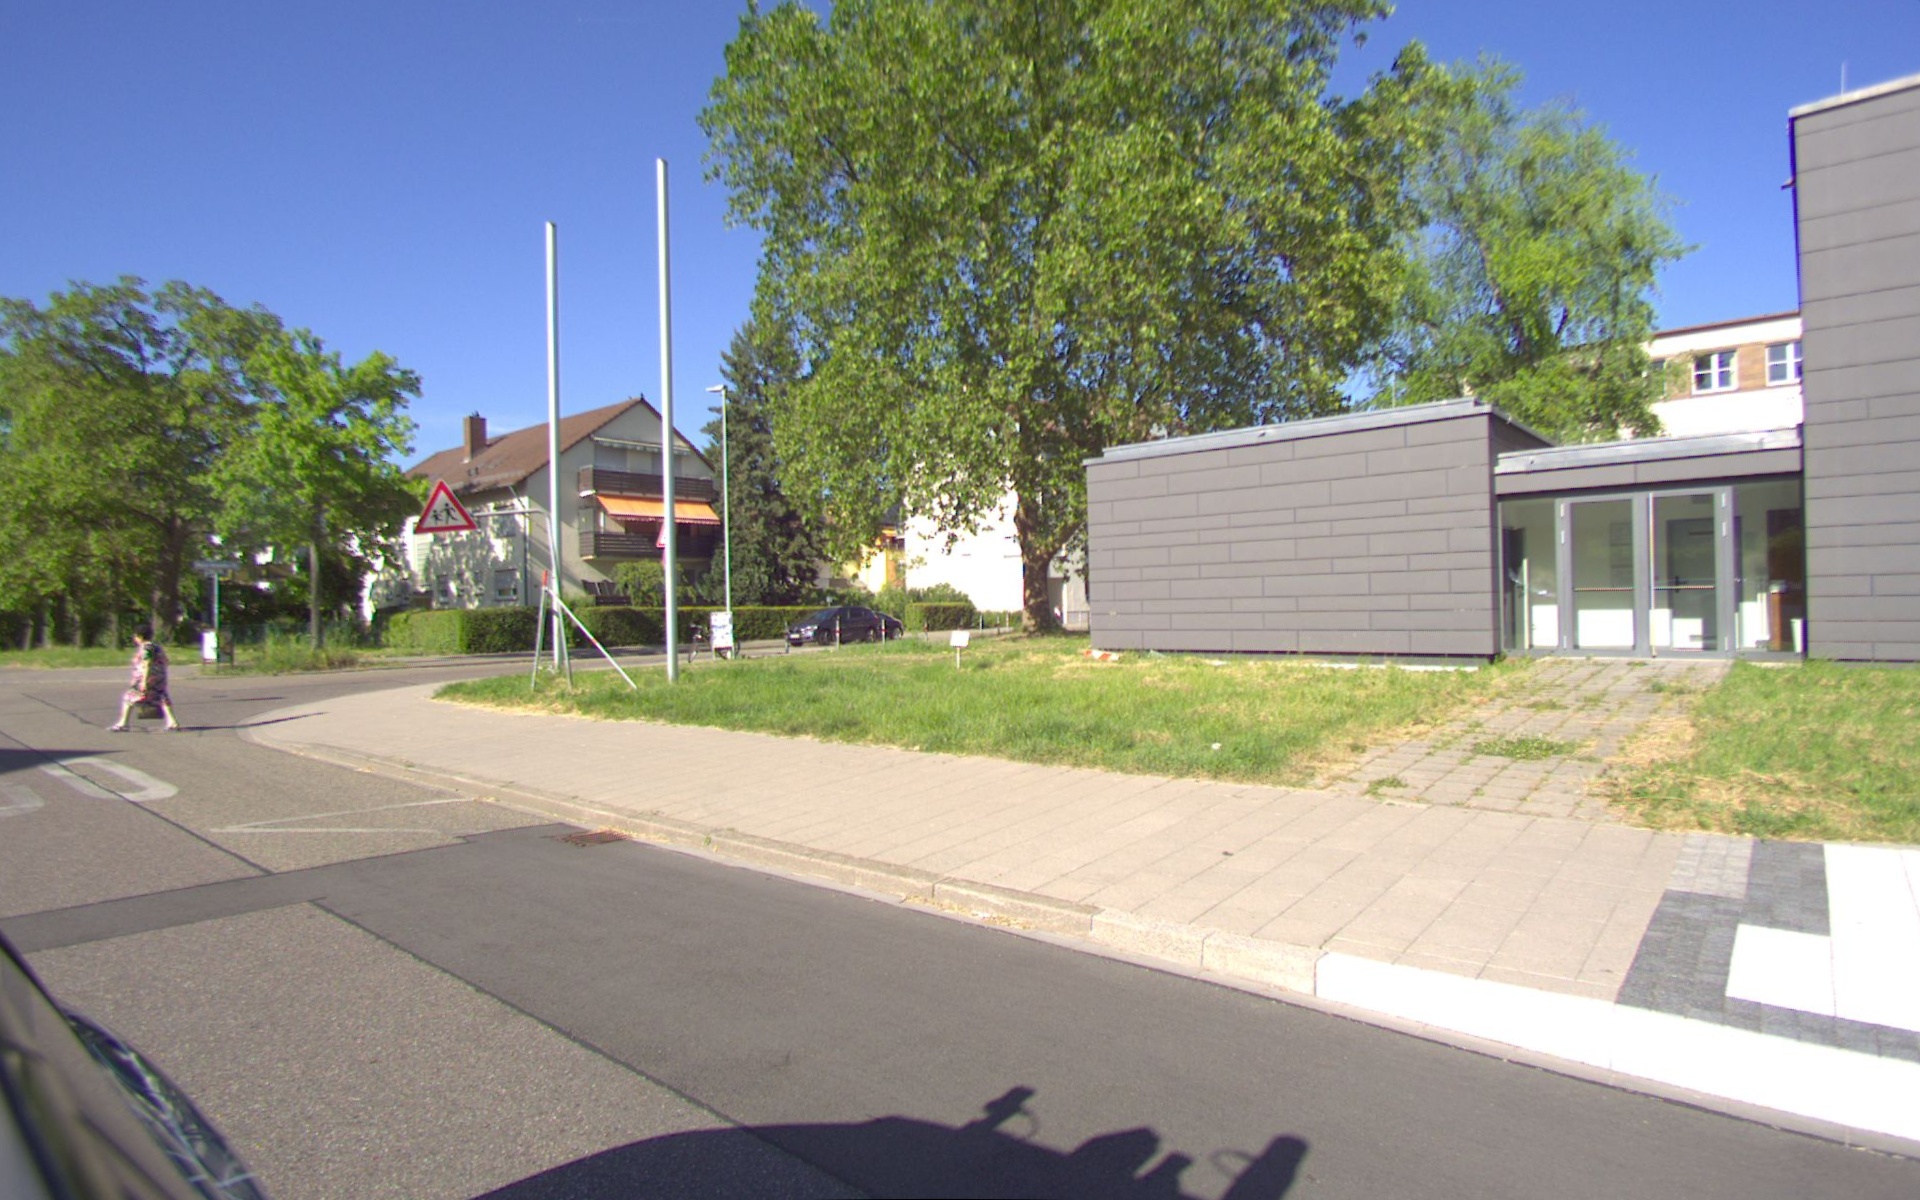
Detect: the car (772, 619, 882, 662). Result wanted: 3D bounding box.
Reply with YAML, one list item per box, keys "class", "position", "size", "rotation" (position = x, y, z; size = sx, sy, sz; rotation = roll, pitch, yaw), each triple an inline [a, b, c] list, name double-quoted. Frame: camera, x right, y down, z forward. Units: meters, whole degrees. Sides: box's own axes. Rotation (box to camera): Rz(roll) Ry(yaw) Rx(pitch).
- class: "car"
  position: [-5.317, 1.594, 40.769]
  size: [2.114, 1.468, 4.056]
  rotation: [-1, 0, 39]

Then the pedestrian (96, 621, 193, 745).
- class: "pedestrian"
  position: [-10.965, 1.108, 13.637]
  size: [0.822, 1.599, 0.634]
  rotation: [3, -1, -25]

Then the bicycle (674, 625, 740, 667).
- class: "bicycle"
  position: [-6.594, 1.193, 26.412]
  size: [1.574, 0.992, 0.501]
  rotation: [-2, -2, -34]

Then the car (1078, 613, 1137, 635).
- class: "car"
  position: [8.438, 1.356, 57.758]
  size: [1.538, 1.202, 3.948]
  rotation: [-2, -2, 39]
